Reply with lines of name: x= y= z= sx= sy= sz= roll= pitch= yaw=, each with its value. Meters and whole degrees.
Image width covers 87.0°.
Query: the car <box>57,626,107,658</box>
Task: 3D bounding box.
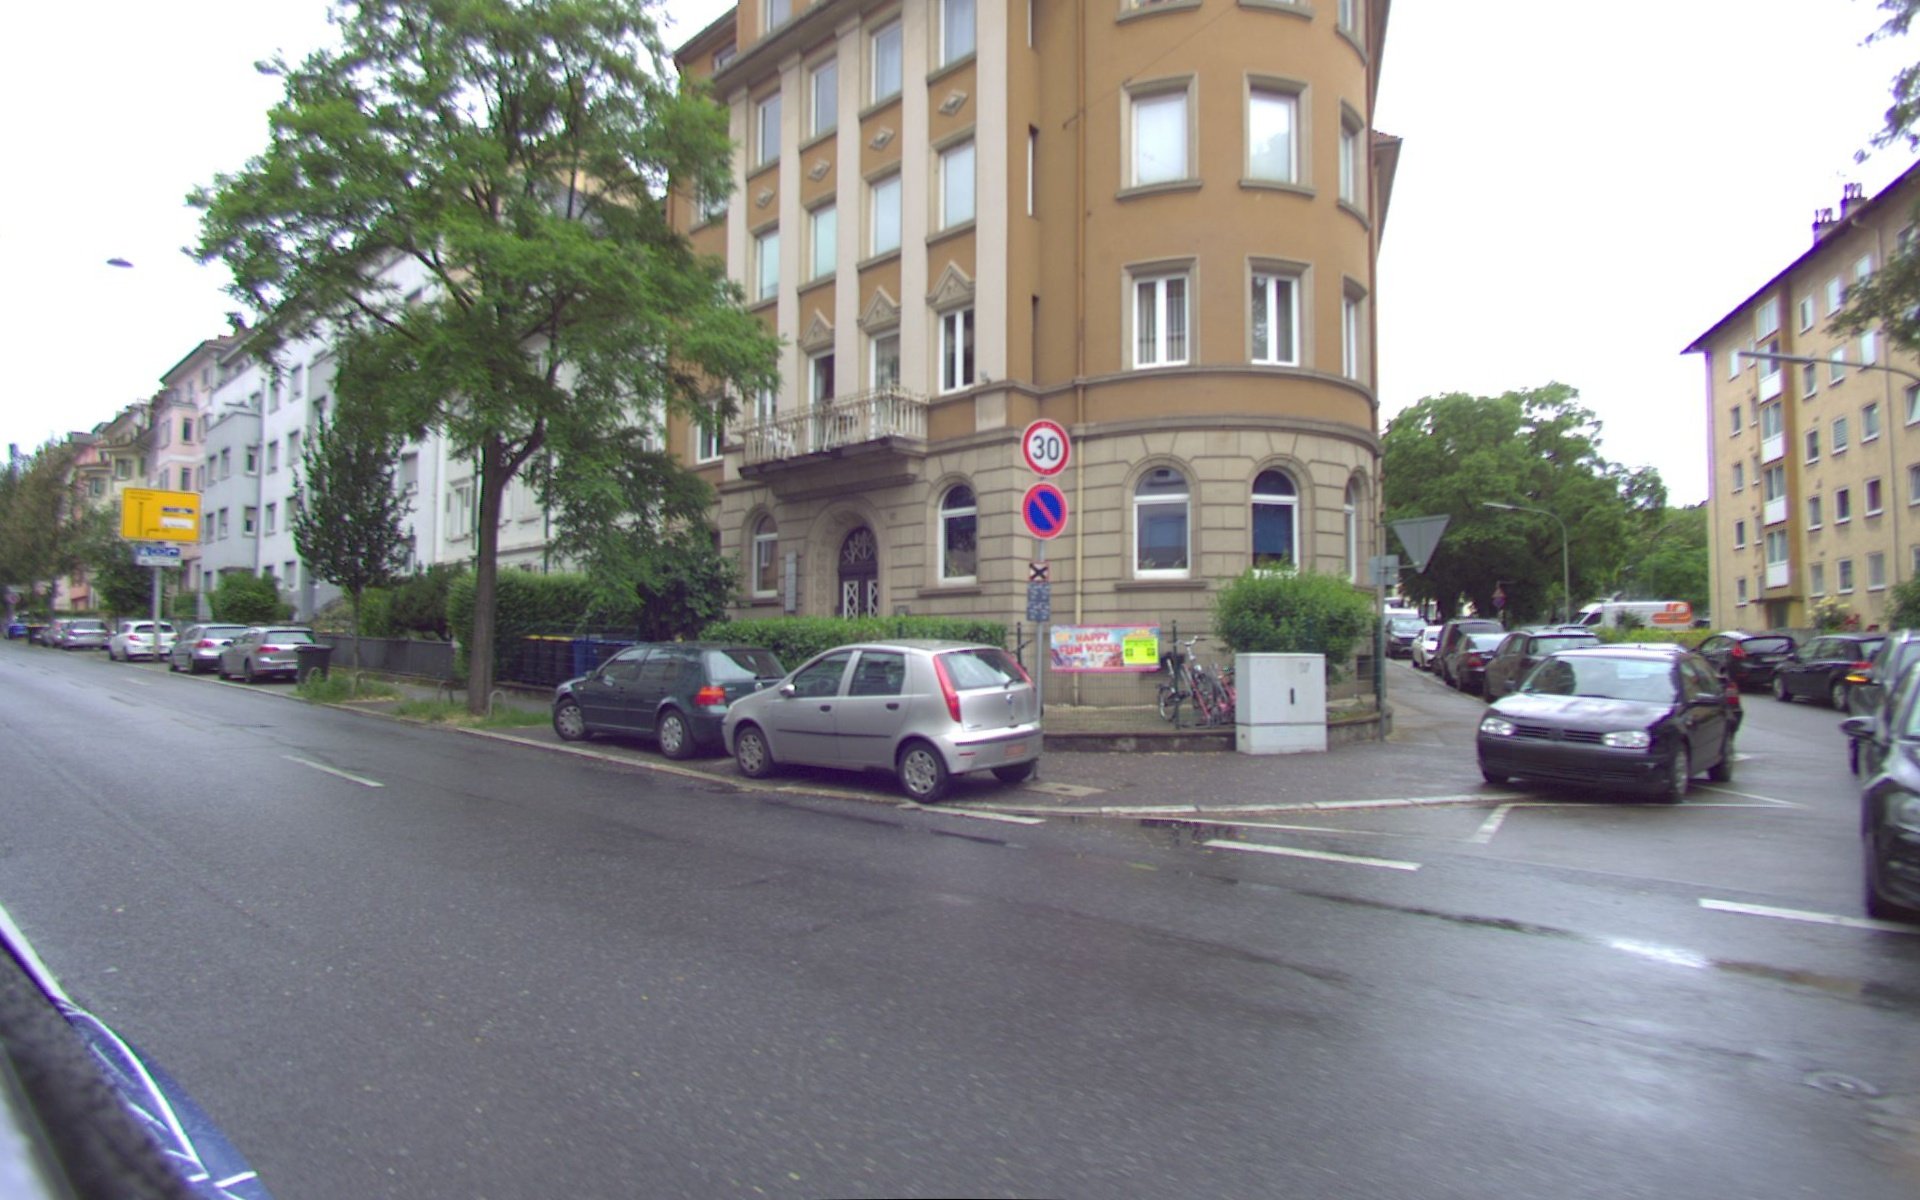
car: x=-41.955 y=1.975 z=48.353 sx=1.582 sy=1.462 sz=3.890 roll=1 pitch=-1 yaw=-44

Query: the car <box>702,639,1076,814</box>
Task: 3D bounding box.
car: x=-0.841 y=1.164 z=10.598 sx=3.834 sy=1.465 sz=1.616 roll=-1 pitch=-2 yaw=38

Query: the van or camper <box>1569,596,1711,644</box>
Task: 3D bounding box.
van or camper: x=38.564 y=1.101 z=57.595 sx=6.292 sy=2.653 sz=2.282 roll=0 pitch=1 yaw=12

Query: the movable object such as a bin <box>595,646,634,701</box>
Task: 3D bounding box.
movable object such as a bin: x=-6.715 y=1.417 z=19.664 sx=0.650 sy=1.049 sz=0.421 roll=-1 pitch=-3 yaw=41

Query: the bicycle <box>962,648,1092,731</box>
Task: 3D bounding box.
bicycle: x=0.991 y=1.215 z=14.240 sx=0.804 sy=1.054 sz=2.323 roll=-1 pitch=-3 yaw=33

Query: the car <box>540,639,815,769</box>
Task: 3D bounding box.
car: x=-3.895 y=1.282 z=13.645 sx=3.939 sy=1.465 sz=1.637 roll=-1 pitch=-3 yaw=40

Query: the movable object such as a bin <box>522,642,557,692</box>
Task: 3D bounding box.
movable object such as a bin: x=-9.051 y=1.428 z=21.785 sx=0.649 sy=1.047 sz=0.435 roll=-1 pitch=-3 yaw=41

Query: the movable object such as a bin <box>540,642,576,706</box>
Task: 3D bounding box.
movable object such as a bin: x=-8.451 y=1.545 z=21.268 sx=0.649 sy=1.318 sz=0.435 roll=-1 pitch=-3 yaw=41

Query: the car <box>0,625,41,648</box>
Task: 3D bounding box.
car: x=-60.978 y=2.351 z=65.551 sx=4.602 sy=1.396 sz=1.661 roll=0 pitch=-2 yaw=42

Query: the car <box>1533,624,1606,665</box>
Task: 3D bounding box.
car: x=25.860 y=1.845 z=43.062 sx=1.788 sy=1.519 sz=3.590 roll=0 pitch=1 yaw=17

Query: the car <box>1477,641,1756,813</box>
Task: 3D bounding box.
car: x=6.948 y=1.170 z=10.546 sx=1.743 sy=1.400 sz=3.773 roll=0 pitch=-2 yaw=44

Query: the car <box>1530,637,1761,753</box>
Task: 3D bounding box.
car: x=10.143 y=1.311 z=15.358 sx=1.696 sy=1.431 sz=4.210 roll=0 pitch=-1 yaw=17

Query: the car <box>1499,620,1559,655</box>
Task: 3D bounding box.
car: x=27.943 y=1.795 z=49.801 sx=1.788 sy=1.519 sz=3.590 roll=0 pitch=1 yaw=16

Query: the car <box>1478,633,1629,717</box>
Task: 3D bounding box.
car: x=11.591 y=1.399 z=20.026 sx=1.696 sy=1.451 sz=3.816 roll=0 pitch=-1 yaw=17

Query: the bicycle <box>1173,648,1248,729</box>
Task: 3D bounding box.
bicycle: x=3.367 y=1.168 z=13.754 sx=0.797 sy=1.019 sz=1.700 roll=0 pitch=-3 yaw=8

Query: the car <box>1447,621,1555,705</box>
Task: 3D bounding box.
car: x=13.179 y=1.446 z=24.874 sx=1.836 sy=1.741 sz=3.972 roll=0 pitch=1 yaw=21

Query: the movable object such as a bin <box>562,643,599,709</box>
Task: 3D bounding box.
movable object such as a bin: x=-7.757 y=1.549 z=20.696 sx=0.609 sy=1.318 sz=0.435 roll=-1 pitch=-3 yaw=41

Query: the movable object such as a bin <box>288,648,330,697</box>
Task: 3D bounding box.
movable object such as a bin: x=-14.868 y=1.650 z=23.115 sx=0.600 sy=1.066 sz=0.623 roll=0 pitch=-2 yaw=42

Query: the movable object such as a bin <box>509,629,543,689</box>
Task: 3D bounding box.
movable object such as a bin: x=-9.564 y=1.292 z=22.301 sx=0.649 sy=1.309 sz=0.435 roll=-1 pitch=-3 yaw=41

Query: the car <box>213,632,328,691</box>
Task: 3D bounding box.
car: x=-18.243 y=1.573 z=26.719 sx=3.935 sy=1.401 sz=1.664 roll=-1 pitch=-2 yaw=43

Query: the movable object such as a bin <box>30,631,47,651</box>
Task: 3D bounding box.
movable object such as a bin: x=-50.547 y=2.244 z=55.498 sx=0.480 sy=1.066 sz=0.522 roll=0 pitch=1 yaw=20

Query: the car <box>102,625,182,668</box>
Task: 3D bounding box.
car: x=-30.372 y=1.693 z=37.550 sx=3.794 sy=1.519 sz=1.629 roll=-1 pitch=-2 yaw=41

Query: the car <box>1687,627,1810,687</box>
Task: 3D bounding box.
car: x=19.594 y=1.381 z=25.287 sx=1.486 sy=1.230 sz=3.341 roll=-3 pitch=0 yaw=21

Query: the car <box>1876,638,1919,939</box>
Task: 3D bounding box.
car: x=6.490 y=0.970 z=5.791 sx=1.742 sy=1.400 sz=3.776 roll=0 pitch=-1 yaw=41

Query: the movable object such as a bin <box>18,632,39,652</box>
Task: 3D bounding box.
movable object such as a bin: x=-51.563 y=2.314 z=56.005 sx=0.483 sy=1.066 sz=0.816 roll=0 pitch=1 yaw=43

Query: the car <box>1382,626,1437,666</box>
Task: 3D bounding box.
car: x=19.613 y=1.986 z=44.265 sx=1.789 sy=1.519 sz=3.588 roll=0 pitch=1 yaw=18

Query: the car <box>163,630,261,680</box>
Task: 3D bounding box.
car: x=-22.618 y=1.617 z=30.552 sx=3.909 sy=1.401 sz=1.664 roll=-1 pitch=-2 yaw=43

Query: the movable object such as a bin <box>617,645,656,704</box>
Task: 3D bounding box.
movable object such as a bin: x=-6.142 y=1.398 z=19.191 sx=0.589 sy=1.089 sz=0.435 roll=-1 pitch=-3 yaw=41

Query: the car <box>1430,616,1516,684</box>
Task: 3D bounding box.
car: x=15.015 y=1.392 z=29.806 sx=1.836 sy=1.741 sz=3.972 roll=0 pitch=1 yaw=21

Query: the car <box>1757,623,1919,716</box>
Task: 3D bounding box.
car: x=17.880 y=1.302 z=20.090 sx=1.670 sy=1.519 sz=3.598 roll=-3 pitch=0 yaw=10

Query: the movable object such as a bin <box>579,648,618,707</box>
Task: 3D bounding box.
movable object such as a bin: x=-7.207 y=1.529 z=20.160 sx=0.657 sy=1.139 sz=0.435 roll=-1 pitch=-3 yaw=41

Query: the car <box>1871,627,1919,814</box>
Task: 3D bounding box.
car: x=9.920 y=1.100 z=9.700 sx=1.692 sy=1.594 sz=3.769 roll=0 pitch=-2 yaw=41

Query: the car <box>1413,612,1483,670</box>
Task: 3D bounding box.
car: x=16.781 y=1.355 z=34.934 sx=1.836 sy=1.741 sz=3.972 roll=0 pitch=1 yaw=21

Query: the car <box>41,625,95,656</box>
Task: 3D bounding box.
car: x=-45.554 y=2.047 z=51.666 sx=3.886 sy=1.407 sz=1.584 roll=0 pitch=-2 yaw=41

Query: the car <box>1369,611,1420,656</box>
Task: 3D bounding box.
car: x=21.447 y=1.591 z=50.070 sx=1.984 sy=2.029 sz=3.975 roll=0 pitch=1 yaw=19

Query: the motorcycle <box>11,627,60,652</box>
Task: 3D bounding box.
motorcycle: x=-49.631 y=2.116 z=54.348 sx=1.783 sy=1.325 sz=0.743 roll=1 pitch=-2 yaw=-7
